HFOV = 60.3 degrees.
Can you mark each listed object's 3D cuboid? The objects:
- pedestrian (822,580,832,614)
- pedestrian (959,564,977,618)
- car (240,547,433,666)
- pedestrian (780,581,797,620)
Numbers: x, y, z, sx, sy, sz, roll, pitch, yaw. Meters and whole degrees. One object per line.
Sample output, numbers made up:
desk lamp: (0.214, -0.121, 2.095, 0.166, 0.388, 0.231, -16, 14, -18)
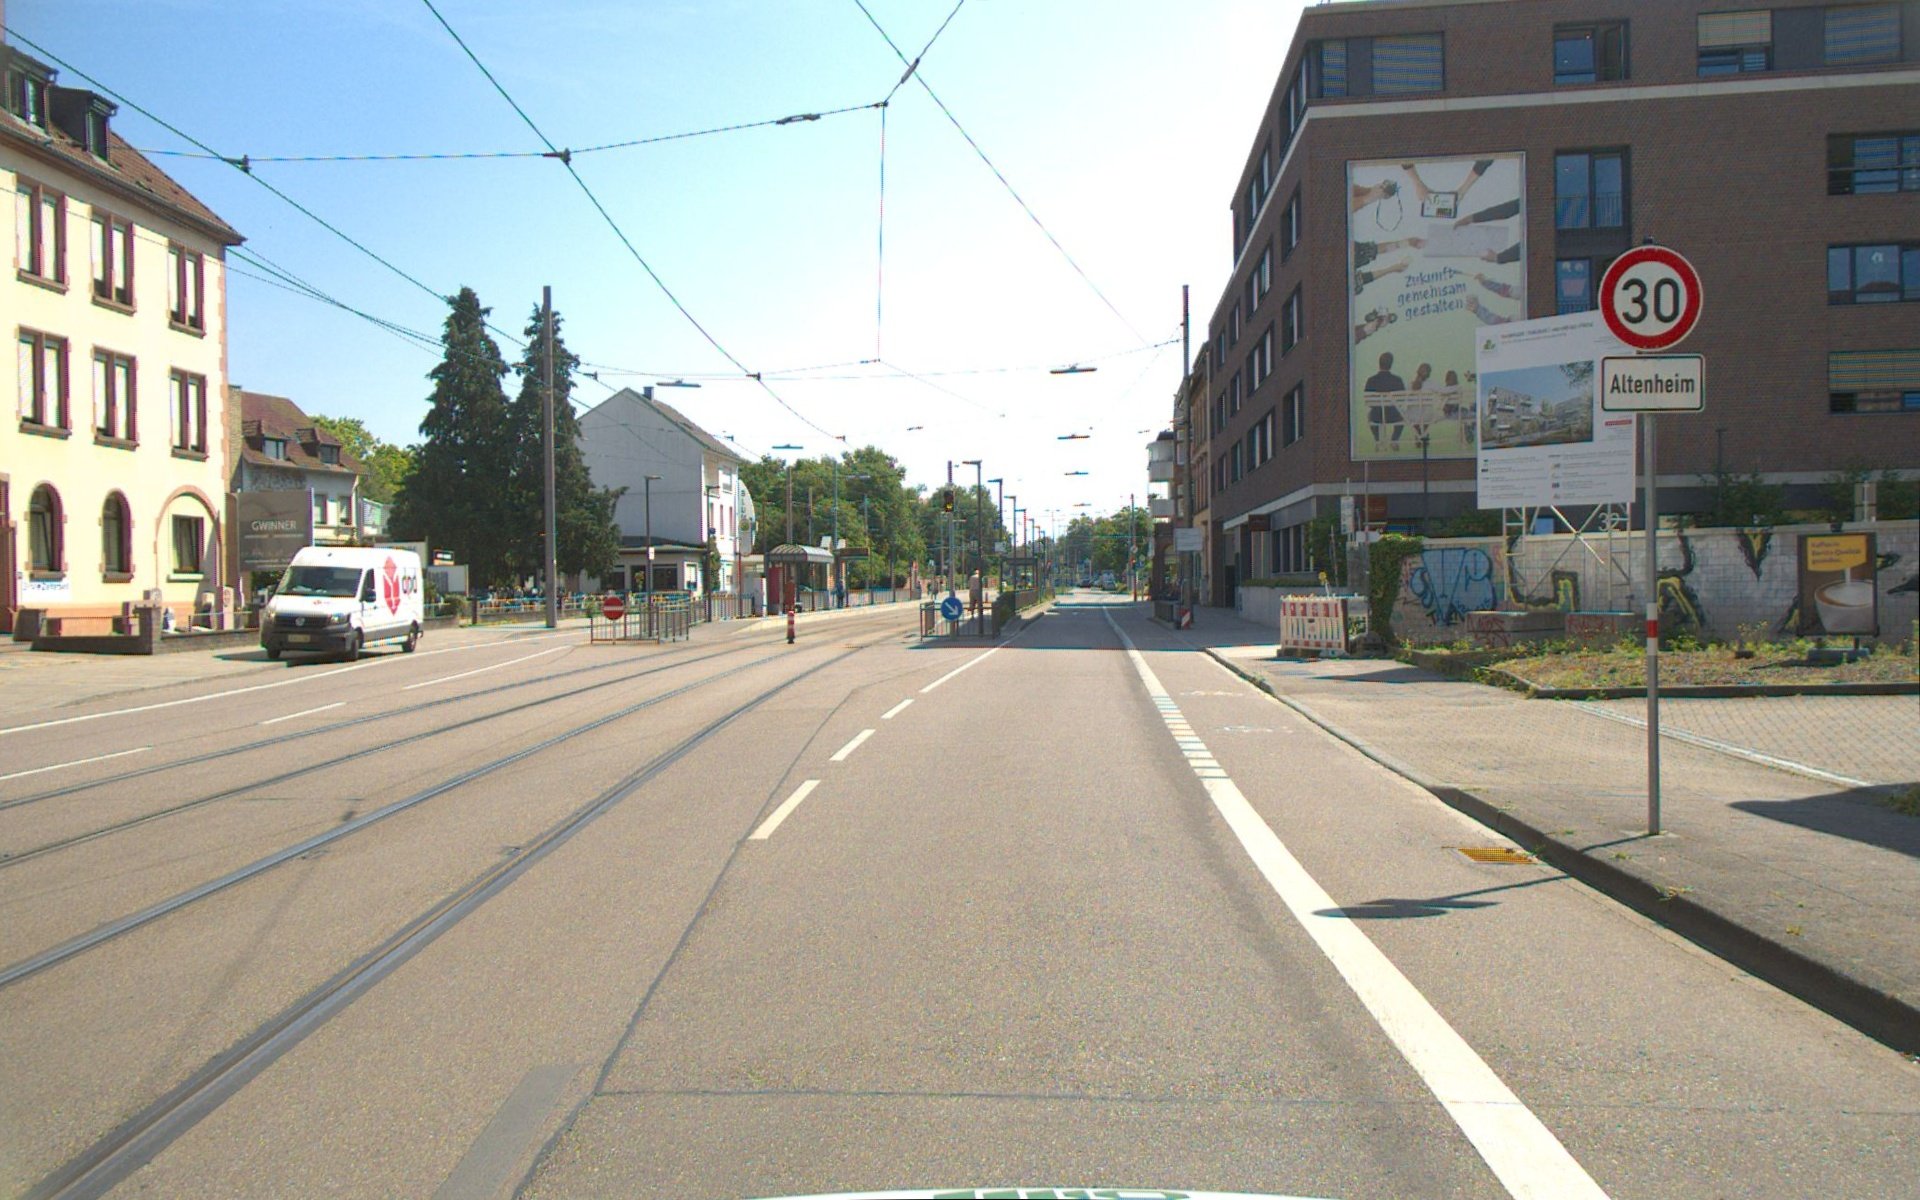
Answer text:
pedestrian: (-6.759, -0.135, 83.904, 0.407, 1.719, 0.706, -1, 0, -9)
pedestrian: (0.273, -0.318, 55.814, 0.545, 1.790, 0.793, -2, 1, -2)
car: (-14.724, 0.115, 39.560, 2.282, 2.580, 6.504, 1, 0, -2)
pedestrian: (-7.574, 0.006, 73.015, 0.691, 1.719, 0.416, -1, 0, -4)
